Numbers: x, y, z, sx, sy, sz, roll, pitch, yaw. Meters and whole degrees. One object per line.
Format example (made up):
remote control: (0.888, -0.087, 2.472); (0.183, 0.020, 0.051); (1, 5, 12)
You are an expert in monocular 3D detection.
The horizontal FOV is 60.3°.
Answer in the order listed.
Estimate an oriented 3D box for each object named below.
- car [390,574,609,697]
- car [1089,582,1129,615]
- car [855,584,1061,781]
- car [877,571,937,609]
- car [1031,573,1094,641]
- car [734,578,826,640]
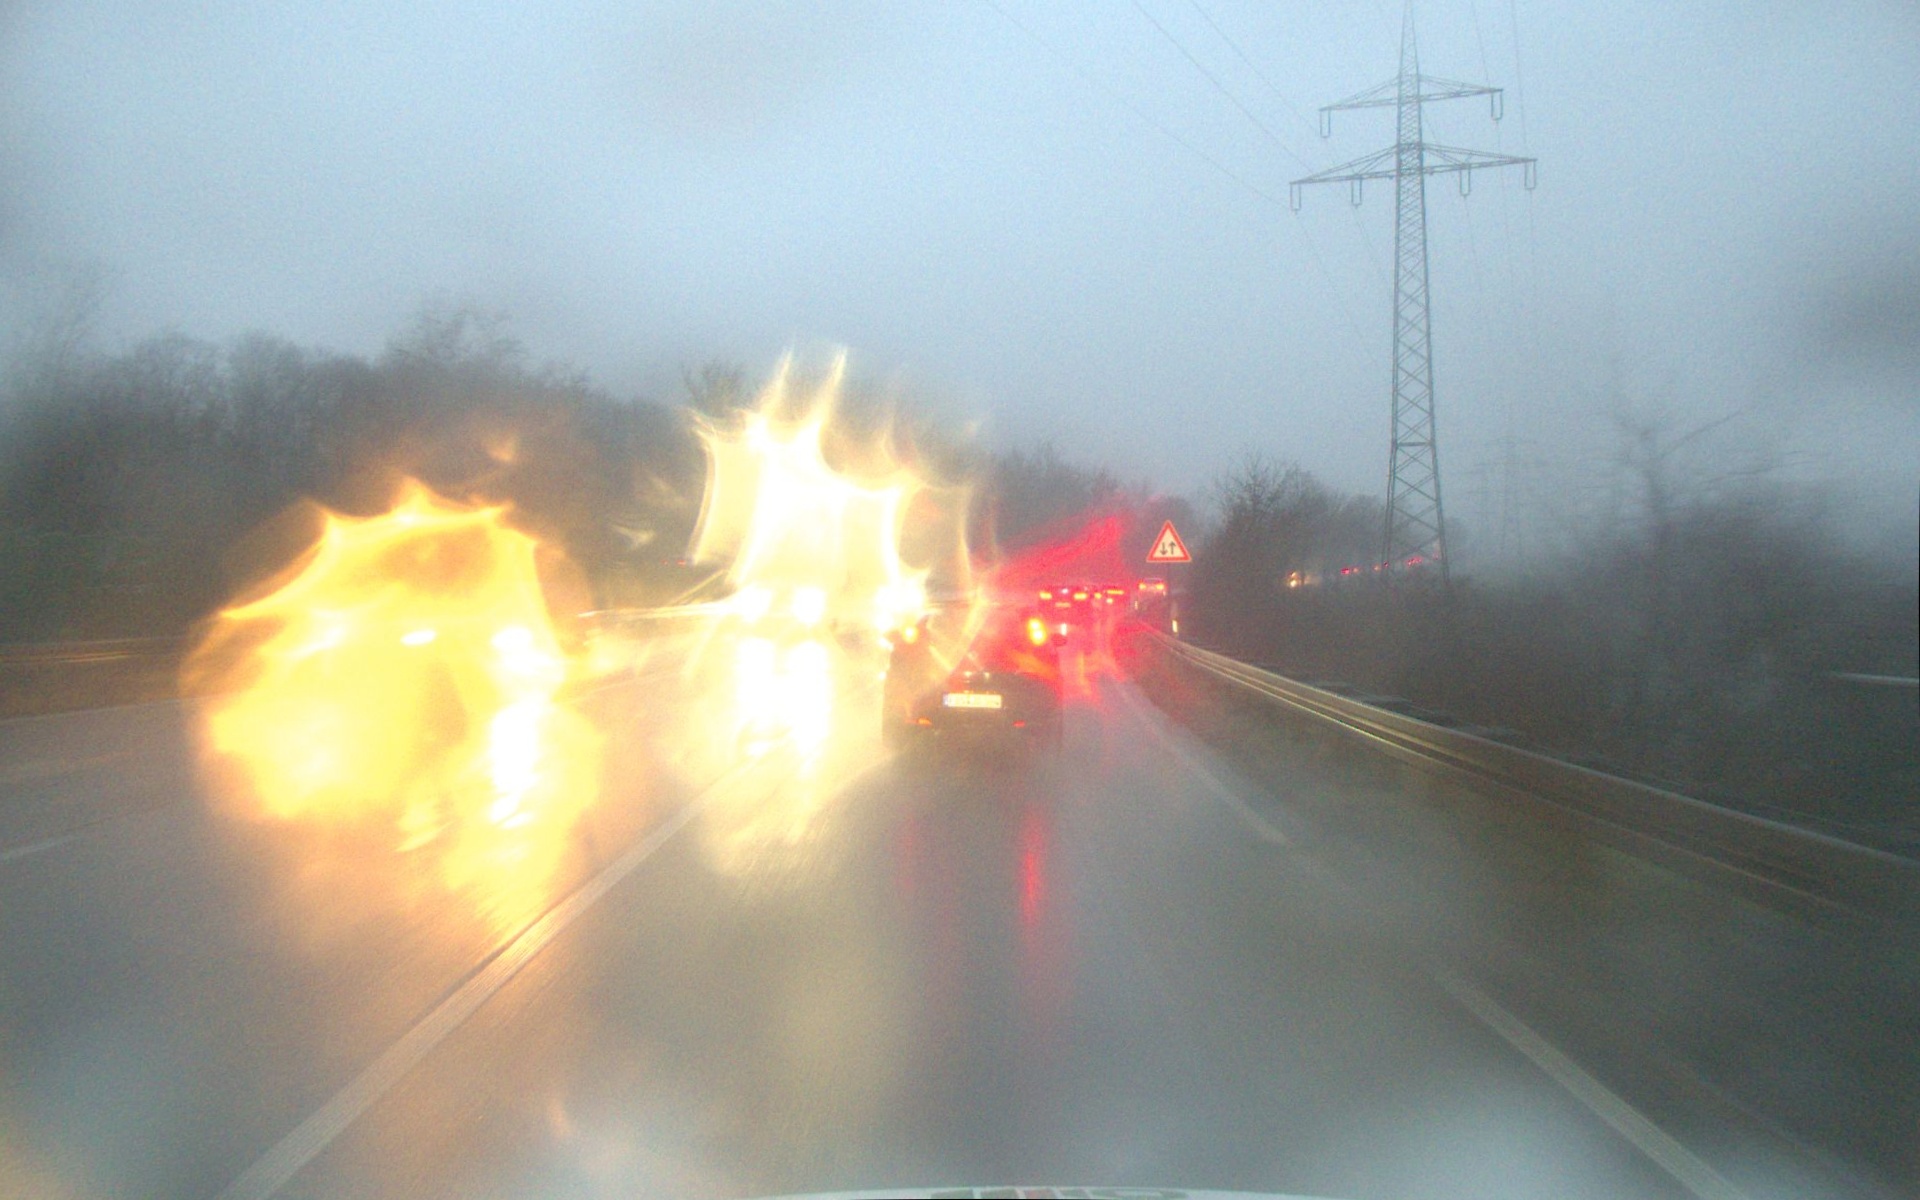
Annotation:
car: (-6.536, 0.428, 23.991); (1.602, 1.497, 4.452); (3, 1, 4)
car: (8.353, -0.087, 92.520); (1.904, 1.775, 4.003); (0, 0, 9)
car: (-0.031, 0.691, 16.299); (1.695, 1.559, 4.042); (-3, 1, -1)
car: (-2.213, -0.400, 69.935); (1.951, 1.516, 4.385); (1, 0, 5)
car: (3.388, 0.186, 54.241); (1.905, 2.048, 4.003); (-2, 2, 4)
car: (-4.975, 0.224, 46.248); (1.849, 1.617, 4.383); (1, 0, 3)
